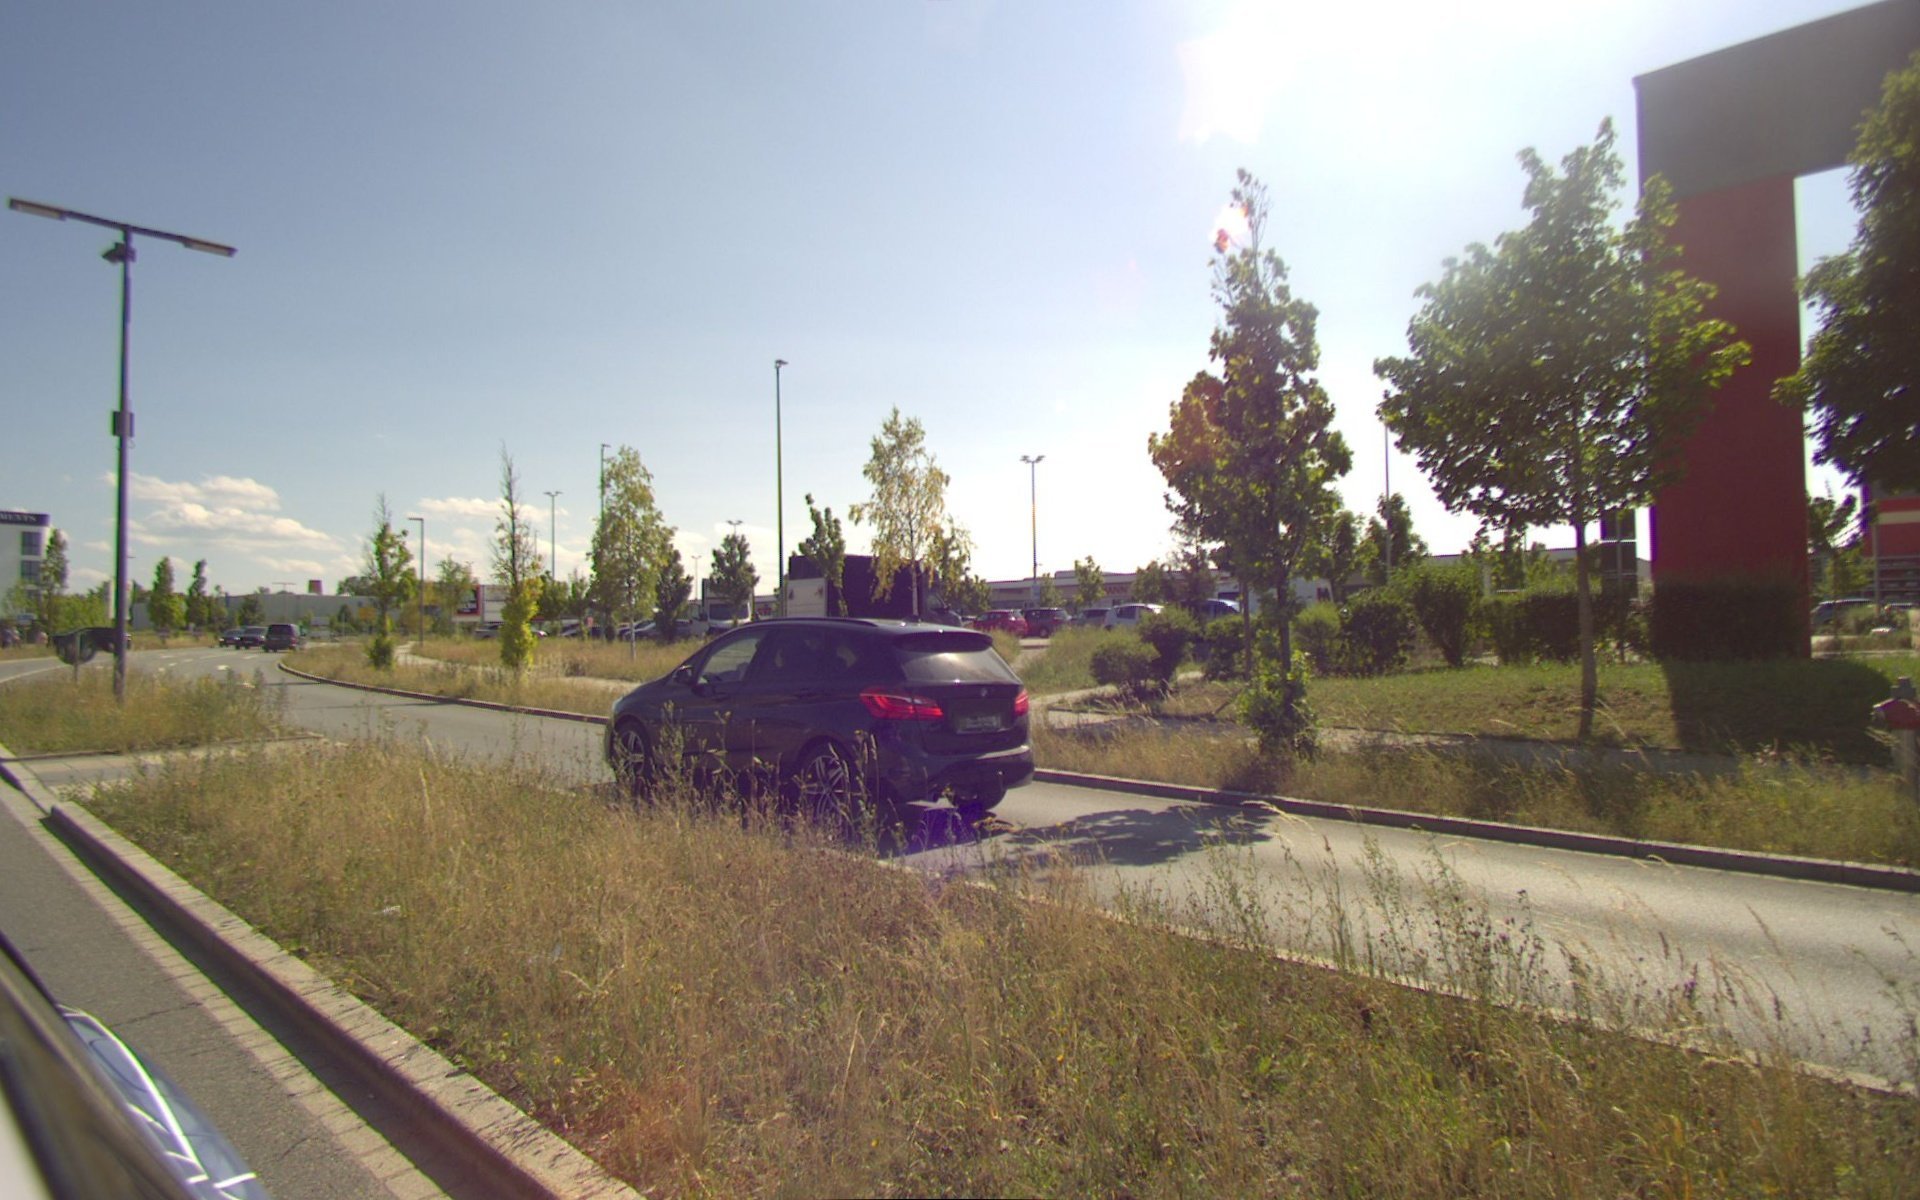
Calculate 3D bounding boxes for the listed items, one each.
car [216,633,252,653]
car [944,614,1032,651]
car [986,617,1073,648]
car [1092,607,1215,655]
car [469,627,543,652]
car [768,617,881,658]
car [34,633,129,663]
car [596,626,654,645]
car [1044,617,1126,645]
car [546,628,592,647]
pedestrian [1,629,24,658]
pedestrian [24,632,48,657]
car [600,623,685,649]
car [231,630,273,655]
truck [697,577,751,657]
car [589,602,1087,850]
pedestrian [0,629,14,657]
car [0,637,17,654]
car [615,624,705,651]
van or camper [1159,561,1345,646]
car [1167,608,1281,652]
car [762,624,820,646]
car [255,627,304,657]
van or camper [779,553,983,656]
[{"bbox_3d":[-59.643,3.507,83.156,1.756,1.505,4.013,0,-2,-26],"label":"car"},{"bbox_3d":[1.394,1.666,51.531,4.380,1.787,1.813,-2,-2,41],"label":"car"},{"bbox_3d":[3.653,1.704,53.447,4.380,1.574,1.813,-2,-2,41],"label":"car"},{"bbox_3d":[6.940,1.122,36.500,4.081,1.627,1.644,-2,-2,41],"label":"car"},{"bbox_3d":[-32.368,2.815,72.251,4.694,1.656,2.122,-1,-3,-24],"label":"car"},{"bbox_3d":[-5.439,1.501,40.972,4.315,1.564,1.840,1,-2,-43],"label":"car"},{"bbox_3d":[-55.285,3.014,63.798,4.395,1.692,1.905,0,-4,-39],"label":"car"},{"bbox_3d":[-36.214,3.859,109.397,5.607,1.980,2.004,1,-3,-37],"label":"car"},{"bbox_3d":[7.102,1.768,57.674,4.380,1.574,1.813,-2,-2,41],"label":"car"},{"bbox_3d":[-38.890,3.749,100.647,4.086,1.875,1.938,1,-3,-29],"label":"car"},{"bbox_3d":[-55.093,2.522,58.860,0.789,1.642,0.807,0,-2,-26],"label":"pedestrian"},{"bbox_3d":[-54.793,2.626,60.018,0.781,1.481,0.952,0,-2,-26],"label":"pedestrian"},{"bbox_3d":[-18.738,2.127,59.759,4.513,1.469,1.843,1,-2,-32],"label":"car"},{"bbox_3d":[-50.401,3.011,72.116,1.727,1.700,4.395,1,-2,-26],"label":"car"},{"bbox_3d":[-11.176,0.848,47.657,2.285,3.491,7.514,0,-2,-14],"label":"truck"},{"bbox_3d":[-1.190,0.897,8.451,4.239,1.555,1.740,-2,-5,41],"label":"car"},{"bbox_3d":[-56.030,2.510,59.216,0.797,1.641,0.869,0,-2,-26],"label":"pedestrian"},{"bbox_3d":[-80.648,3.791,84.868,1.492,1.418,4.011,1,-3,-32],"label":"car"},{"bbox_3d":[-16.295,2.001,55.029,4.363,1.394,1.981,1,-2,-32],"label":"car"},{"bbox_3d":[12.219,0.255,42.817,7.235,3.296,2.403,-2,-2,43],"label":"van or camper"},{"bbox_3d":[10.454,1.192,40.228,4.081,1.683,1.644,-2,-2,41],"label":"car"},{"bbox_3d":[-12.070,2.498,72.154,4.383,1.523,1.811,-2,-2,44],"label":"car"},{"bbox_3d":[-43.325,2.687,64.519,1.923,1.808,4.441,2,-3,-26],"label":"car"},{"bbox_3d":[-2.791,0.234,37.641,7.599,3.495,2.559,1,-2,-42],"label":"van or camper"}]
